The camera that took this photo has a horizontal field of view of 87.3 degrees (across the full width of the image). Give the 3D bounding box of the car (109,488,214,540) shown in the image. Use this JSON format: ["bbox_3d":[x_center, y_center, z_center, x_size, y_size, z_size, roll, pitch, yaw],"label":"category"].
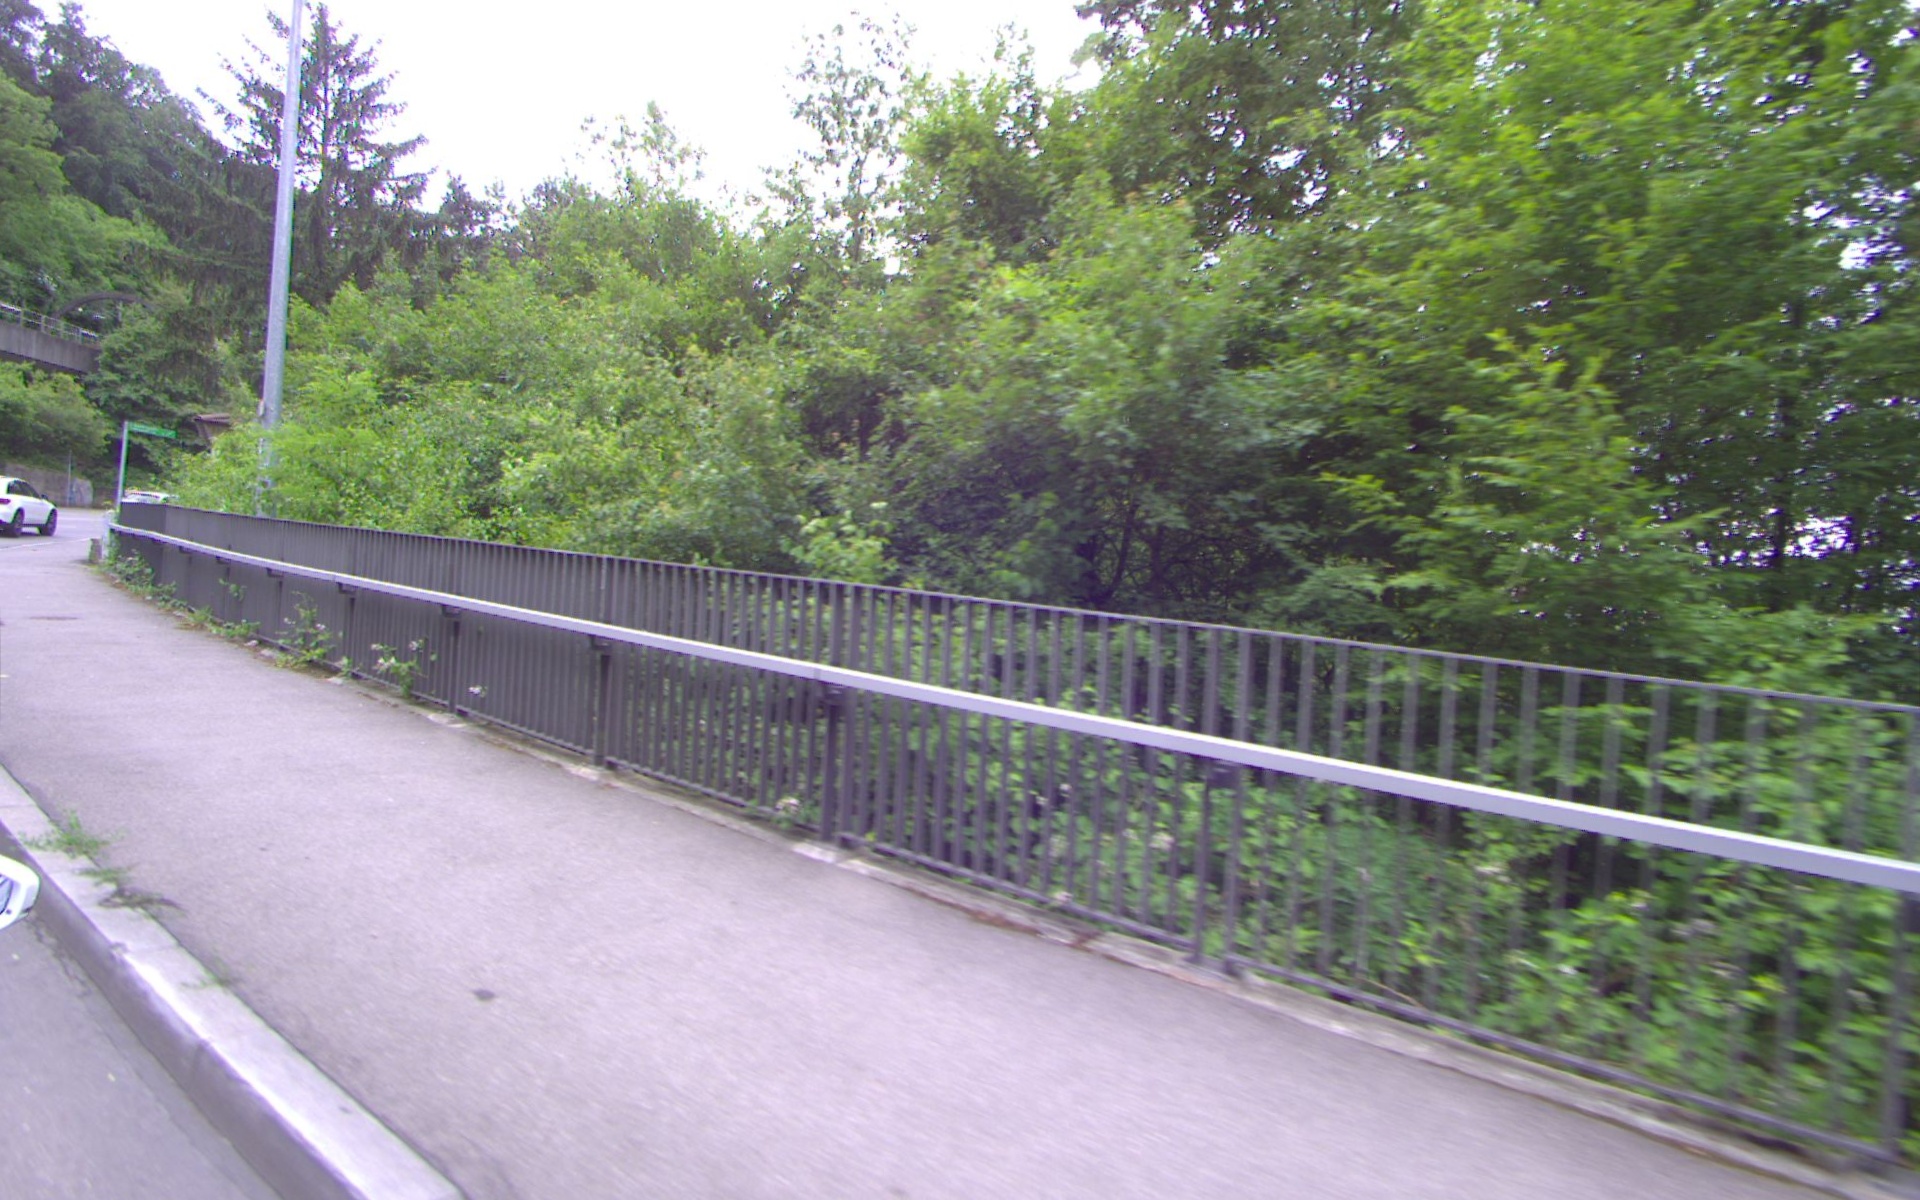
[{"bbox_3d":[-36.522,-3.882,46.162,1.717,1.535,4.309,7,-4,-9],"label":"car"}]

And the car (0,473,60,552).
[{"bbox_3d":[-27.465,-2.556,28.463,1.980,1.863,4.122,9,-5,-30],"label":"car"}]
